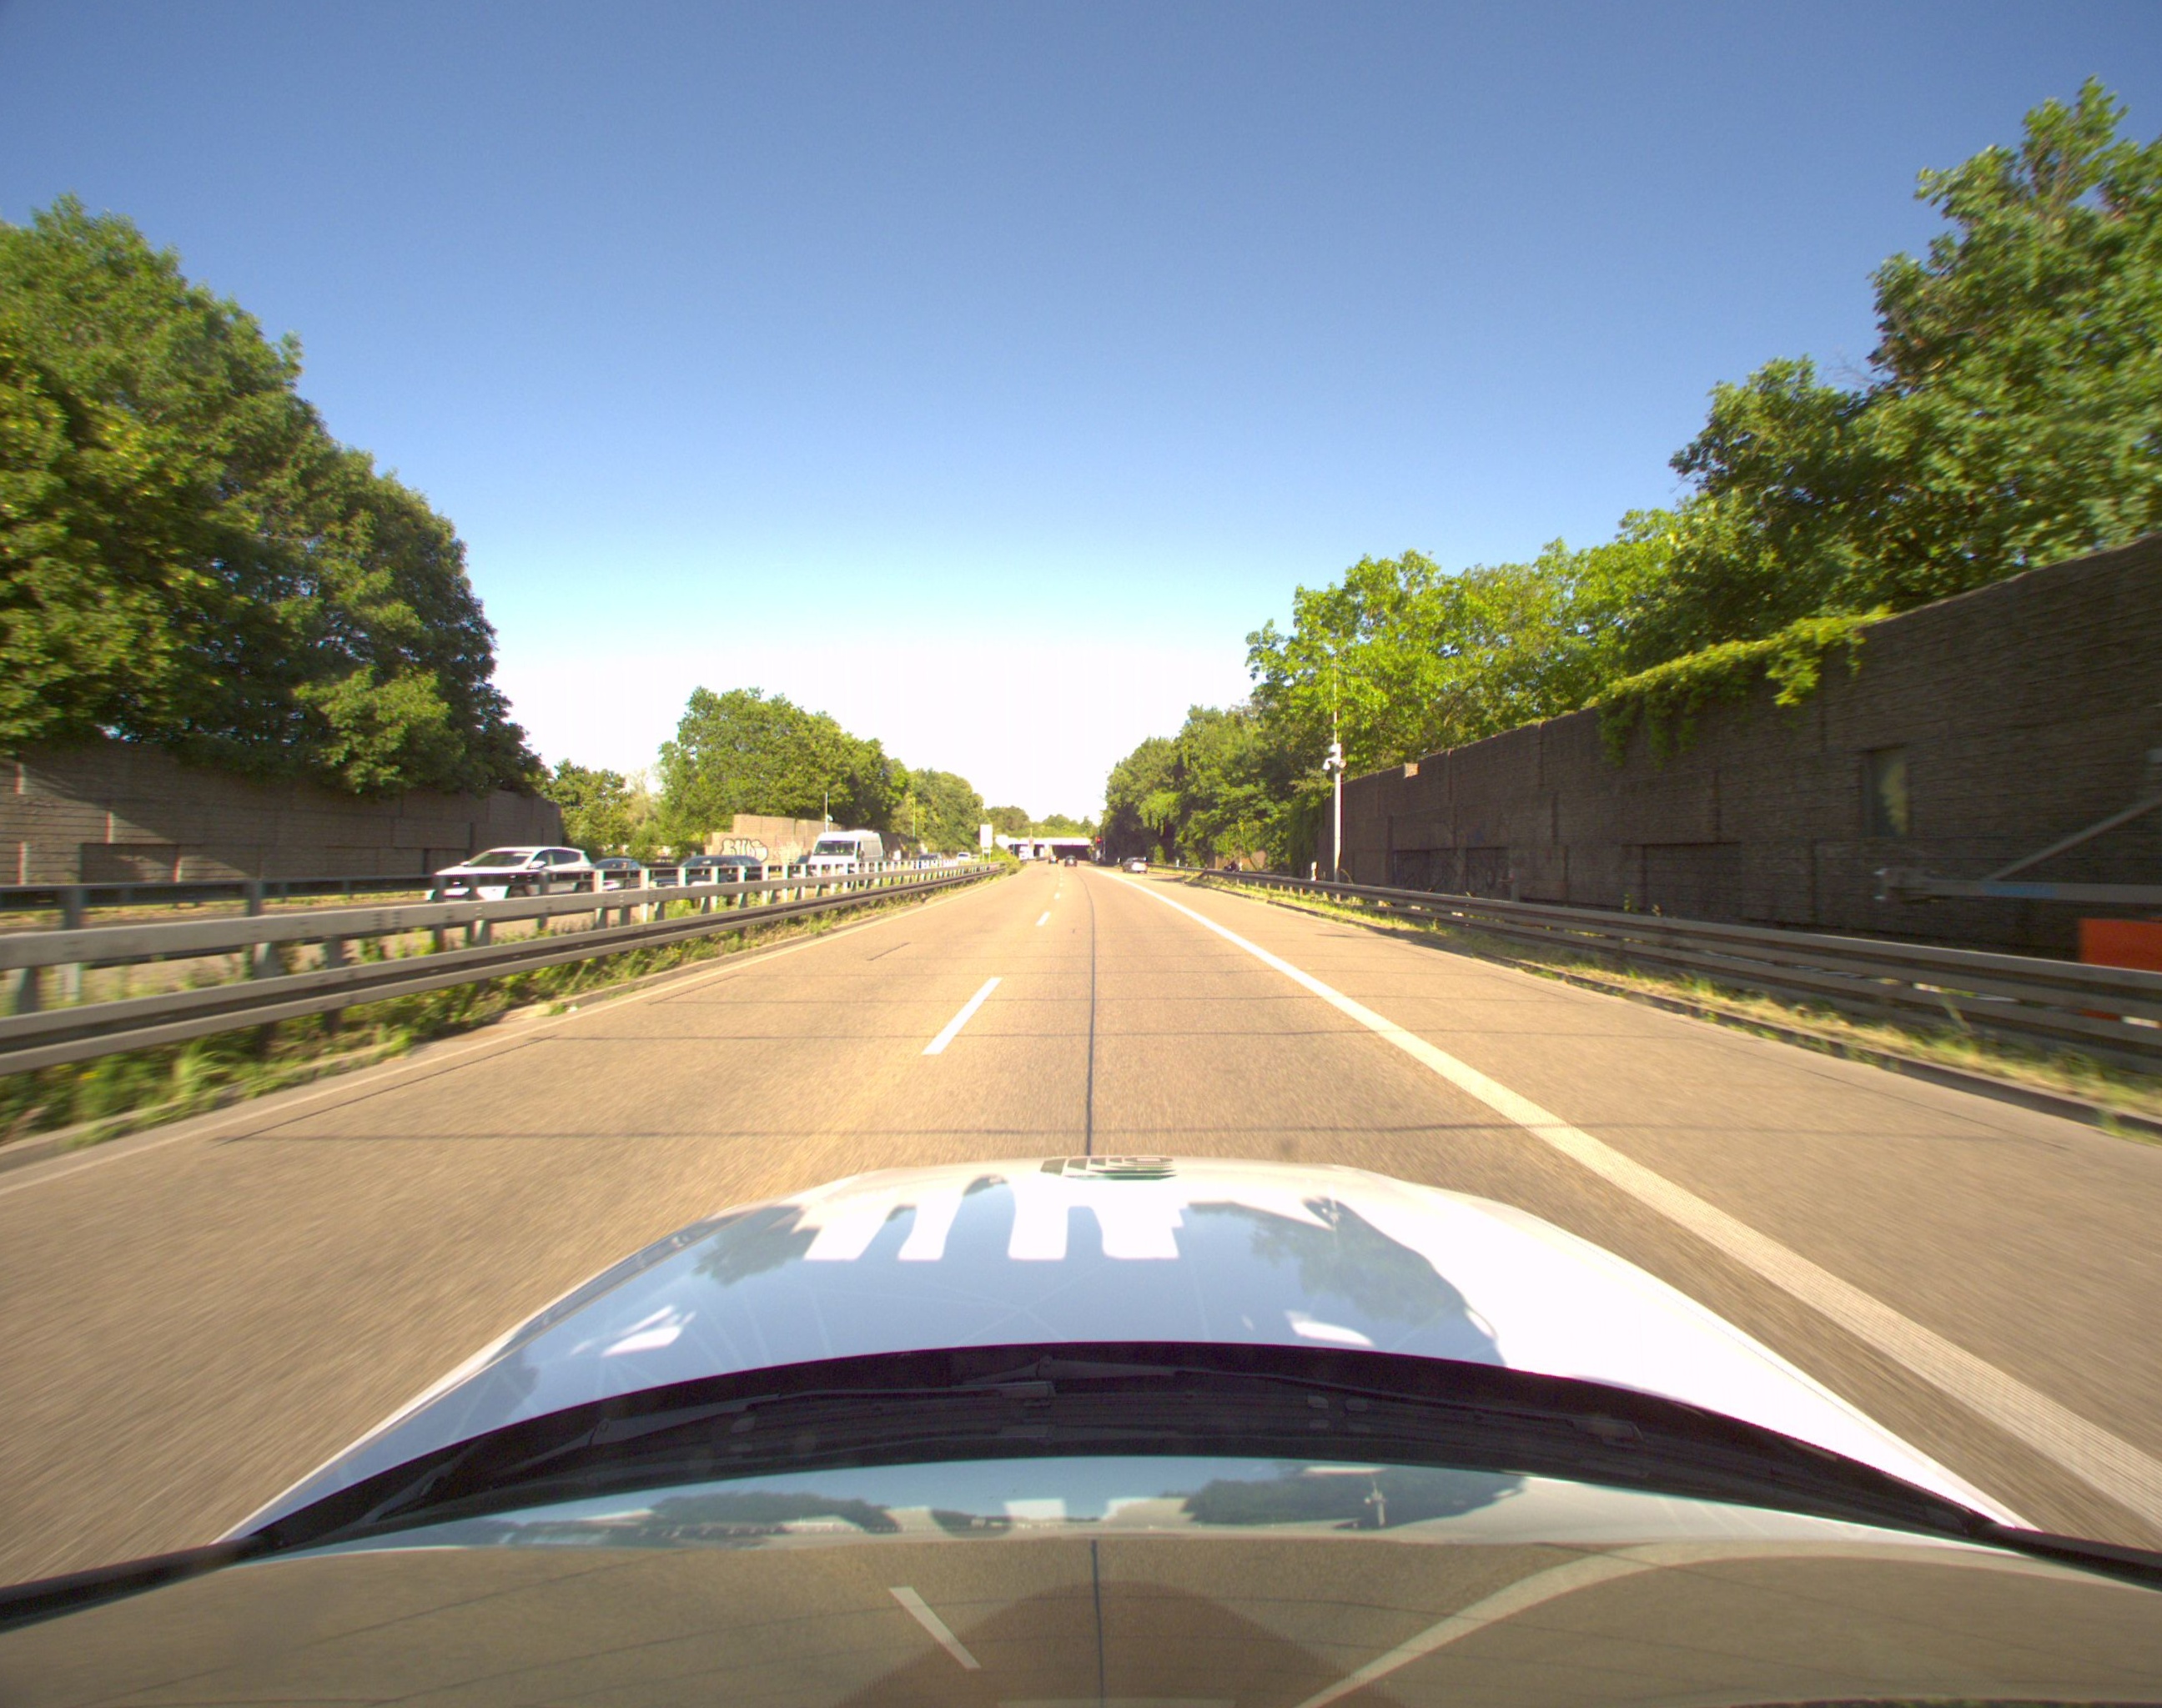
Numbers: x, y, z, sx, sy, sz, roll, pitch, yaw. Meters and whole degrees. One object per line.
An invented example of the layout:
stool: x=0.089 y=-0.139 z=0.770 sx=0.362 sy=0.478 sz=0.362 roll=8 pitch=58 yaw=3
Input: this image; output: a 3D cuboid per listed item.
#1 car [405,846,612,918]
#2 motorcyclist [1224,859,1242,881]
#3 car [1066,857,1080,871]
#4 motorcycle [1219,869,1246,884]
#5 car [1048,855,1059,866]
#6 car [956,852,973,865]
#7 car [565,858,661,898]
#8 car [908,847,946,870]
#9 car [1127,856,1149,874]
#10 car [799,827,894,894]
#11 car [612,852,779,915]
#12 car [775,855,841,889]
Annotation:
car: x=-14.672 y=0.624 z=21.299 sx=1.986 sy=1.596 sz=4.623 roll=2 pitch=1 yaw=2
motorcyclist: x=11.127 y=1.161 z=59.803 sx=0.885 sy=1.501 sz=1.057 roll=2 pitch=0 yaw=-16
car: x=-1.179 y=1.510 z=119.866 sx=1.989 sy=1.925 sz=3.996 roll=1 pitch=0 yaw=-3
motorcycle: x=11.103 y=1.643 z=59.852 sx=0.860 sy=0.991 sz=2.714 roll=2 pitch=-1 yaw=-15
car: x=-4.998 y=1.137 z=147.253 sx=1.989 sy=1.925 sz=3.996 roll=1 pitch=0 yaw=-3
car: x=-16.510 y=0.622 z=115.735 sx=1.817 sy=1.821 sz=4.619 roll=2 pitch=1 yaw=-1
car: x=-19.072 y=0.940 z=33.411 sx=1.992 sy=1.388 sz=4.019 roll=2 pitch=1 yaw=-8
car: x=-11.214 y=0.280 z=59.627 sx=1.988 sy=1.579 sz=4.246 roll=0 pitch=1 yaw=-1
car: x=5.331 y=1.008 z=77.149 sx=1.662 sy=1.552 sz=3.998 roll=2 pitch=1 yaw=-1
car: x=-10.501 y=0.243 z=37.122 sx=2.113 sy=2.683 sz=6.591 roll=2 pitch=1 yaw=2
car: x=-10.372 y=0.713 z=22.453 sx=1.986 sy=1.434 sz=5.092 roll=2 pitch=1 yaw=2
car: x=-14.707 y=0.946 z=44.132 sx=1.895 sy=1.620 sz=4.696 roll=2 pitch=1 yaw=0
